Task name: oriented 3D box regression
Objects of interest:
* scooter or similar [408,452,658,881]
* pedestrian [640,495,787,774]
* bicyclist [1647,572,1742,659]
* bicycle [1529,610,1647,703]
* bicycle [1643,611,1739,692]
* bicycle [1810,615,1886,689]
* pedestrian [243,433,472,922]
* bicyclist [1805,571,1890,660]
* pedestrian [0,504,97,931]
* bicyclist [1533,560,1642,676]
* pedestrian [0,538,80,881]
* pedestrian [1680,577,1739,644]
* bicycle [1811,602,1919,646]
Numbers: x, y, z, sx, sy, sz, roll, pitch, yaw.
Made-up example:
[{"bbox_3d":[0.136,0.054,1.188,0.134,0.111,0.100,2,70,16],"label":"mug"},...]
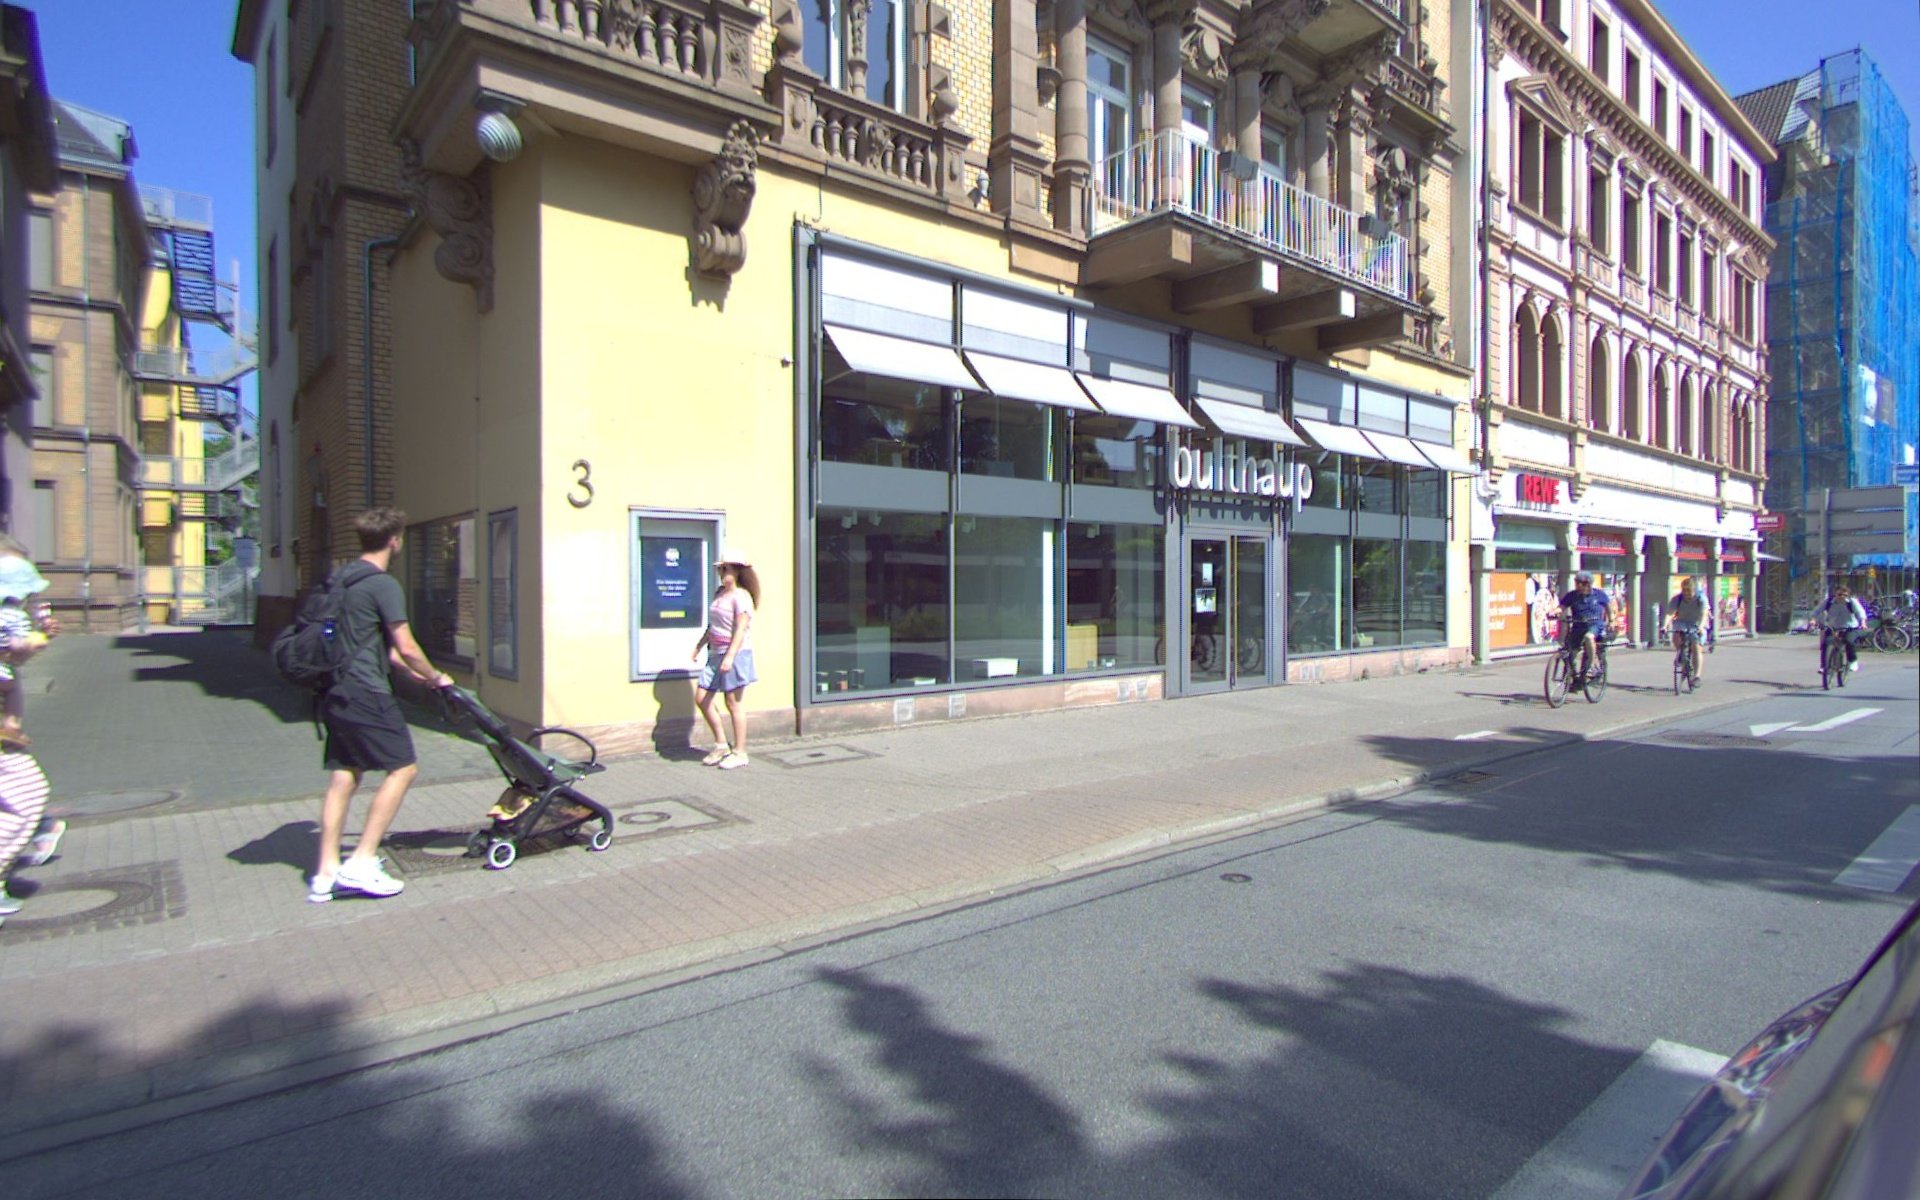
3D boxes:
[{"bbox_3d":[-2.284,0.306,5.433,1.076,2.039,0.693,0,1,-41],"label":"scooter or similar"},{"bbox_3d":[-1.936,0.229,7.927,0.801,2.038,0.813,0,3,-41],"label":"pedestrian"},{"bbox_3d":[11.087,0.214,15.275,1.211,1.250,0.912,0,1,-41],"label":"bicyclist"},{"bbox_3d":[8.398,0.707,13.482,2.453,1.096,0.643,0,1,-41],"label":"bicycle"},{"bbox_3d":[11.090,0.738,15.323,2.453,1.096,0.643,0,1,-41],"label":"bicycle"},{"bbox_3d":[14.826,0.831,16.871,2.453,1.096,0.643,0,1,-42],"label":"bicycle"},{"bbox_3d":[-2.858,0.310,4.788,0.801,2.038,0.813,0,2,-41],"label":"pedestrian"},{"bbox_3d":[14.810,0.233,16.888,1.211,1.411,0.912,0,1,-41],"label":"bicyclist"},{"bbox_3d":[-4.127,0.469,4.306,0.617,1.716,0.707,-1,2,-37],"label":"pedestrian"},{"bbox_3d":[8.345,0.213,13.456,1.211,1.454,0.912,0,1,-41],"label":"bicyclist"},{"bbox_3d":[-4.899,0.504,5.017,0.801,1.622,0.813,0,3,-41],"label":"pedestrian"},{"bbox_3d":[18.512,0.262,24.985,1.211,1.621,0.912,2,-1,-41],"label":"pedestrian"},{"bbox_3d":[24.391,0.625,26.991,0.631,1.096,2.496,0,1,-36],"label":"bicycle"}]
